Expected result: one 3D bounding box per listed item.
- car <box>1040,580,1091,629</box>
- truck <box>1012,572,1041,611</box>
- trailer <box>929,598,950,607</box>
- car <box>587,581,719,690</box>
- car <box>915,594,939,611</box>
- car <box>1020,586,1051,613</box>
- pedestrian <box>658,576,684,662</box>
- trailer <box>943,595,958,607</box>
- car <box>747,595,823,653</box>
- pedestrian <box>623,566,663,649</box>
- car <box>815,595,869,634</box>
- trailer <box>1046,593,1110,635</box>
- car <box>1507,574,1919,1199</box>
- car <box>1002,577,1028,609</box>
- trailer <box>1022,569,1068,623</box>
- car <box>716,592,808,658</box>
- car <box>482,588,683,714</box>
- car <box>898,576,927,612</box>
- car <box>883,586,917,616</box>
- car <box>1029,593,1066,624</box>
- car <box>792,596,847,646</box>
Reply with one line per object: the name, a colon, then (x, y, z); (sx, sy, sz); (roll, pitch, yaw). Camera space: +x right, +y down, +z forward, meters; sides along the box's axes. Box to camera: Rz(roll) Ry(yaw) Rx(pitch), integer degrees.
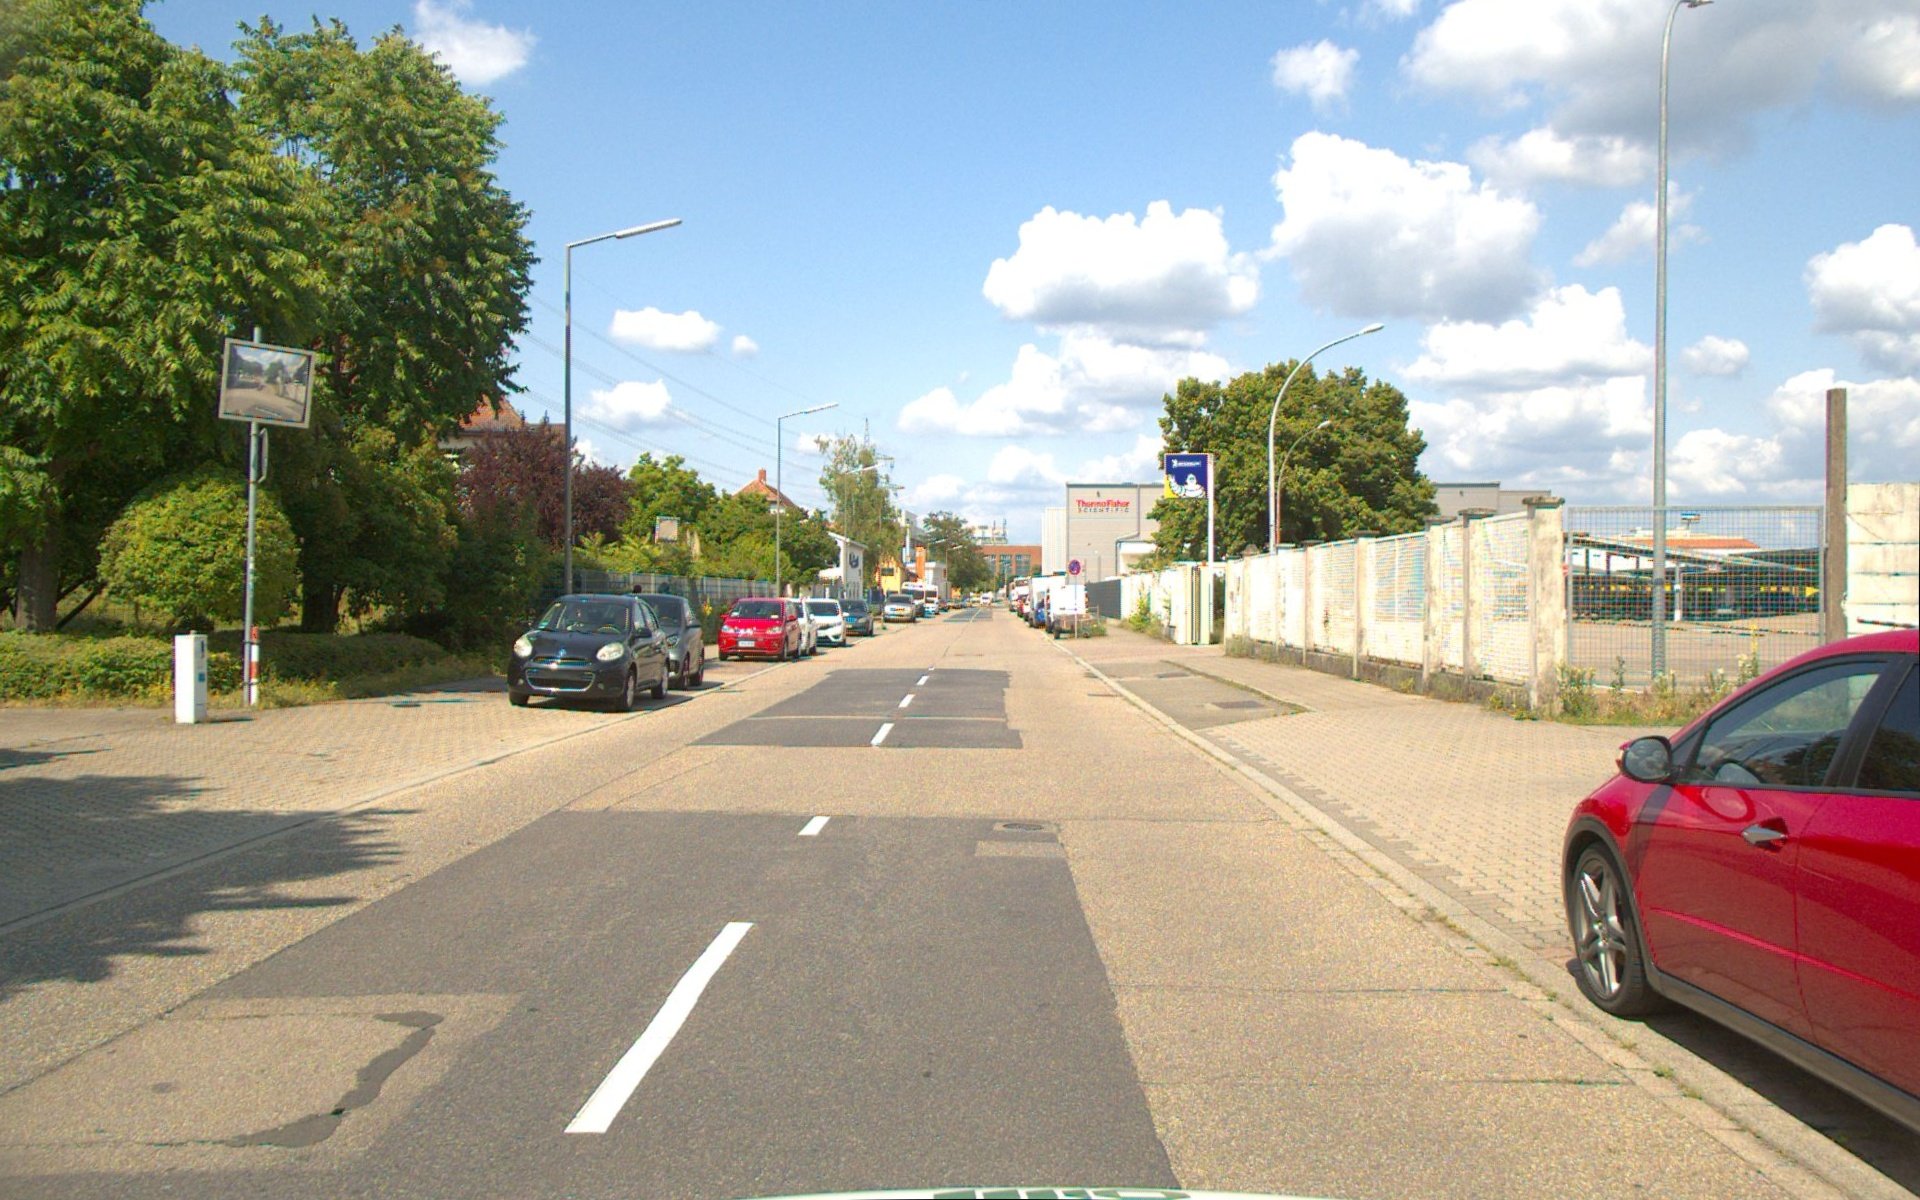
car: (4.618, 0.203, 73.047); (1.952, 2.049, 5.650); (0, 0, 1)
truck: (6.191, -0.761, 154.587); (2.408, 3.350, 6.819); (-5, 0, 2)
trailer: (-2.528, 0.307, 203.409); (2.314, 0.908, 5.569); (2, 0, 1)
car: (-5.200, 0.576, 28.331); (1.617, 1.674, 3.273); (3, 0, -1)
car: (-2.900, 0.251, 145.769); (1.759, 1.422, 4.503); (2, 0, 2)
car: (5.030, -0.039, 110.430); (1.895, 1.723, 4.680); (-3, 0, 1)
pedestrian: (-6.500, 0.426, 37.244); (0.441, 1.927, 0.677); (0, -1, 1)
trailer: (-1.260, 0.148, 224.419); (1.952, 1.584, 4.254); (0, 0, 1)
car: (-4.742, 0.641, 45.172); (1.611, 1.503, 4.029); (0, 0, 0)
pedestrian: (-7.066, 0.171, 36.910); (0.693, 1.832, 0.916); (0, -1, 1)
car: (-4.665, 0.554, 65.879); (1.768, 1.443, 4.496); (2, 0, 0)
trailer: (4.430, 0.532, 62.632); (1.715, 1.442, 4.545); (-3, 0, -4)
car: (3.164, 0.702, 4.840); (1.718, 1.512, 4.225); (-3, 0, 1)
car: (6.139, -0.709, 185.771); (2.340, 3.421, 6.642); (-3, 0, -2)
trailer: (4.705, -0.176, 92.008); (2.159, 2.784, 6.222); (-3, 0, 0)
car: (-4.782, 0.595, 40.387); (1.632, 1.492, 3.744); (2, 0, 2)
car: (-5.238, 0.659, 23.496); (1.807, 1.534, 4.000); (3, 0, 1)
car: (-3.580, -0.403, 126.030); (1.988, 2.602, 6.656); (2, 0, -1)
car: (-3.721, 0.056, 103.321); (1.754, 1.749, 4.752); (2, 0, 1)
car: (4.508, 0.464, 85.368); (1.656, 1.486, 4.070); (-2, 0, 0)
car: (-4.569, 0.665, 54.260); (1.587, 1.549, 4.174); (0, 0, -2)
